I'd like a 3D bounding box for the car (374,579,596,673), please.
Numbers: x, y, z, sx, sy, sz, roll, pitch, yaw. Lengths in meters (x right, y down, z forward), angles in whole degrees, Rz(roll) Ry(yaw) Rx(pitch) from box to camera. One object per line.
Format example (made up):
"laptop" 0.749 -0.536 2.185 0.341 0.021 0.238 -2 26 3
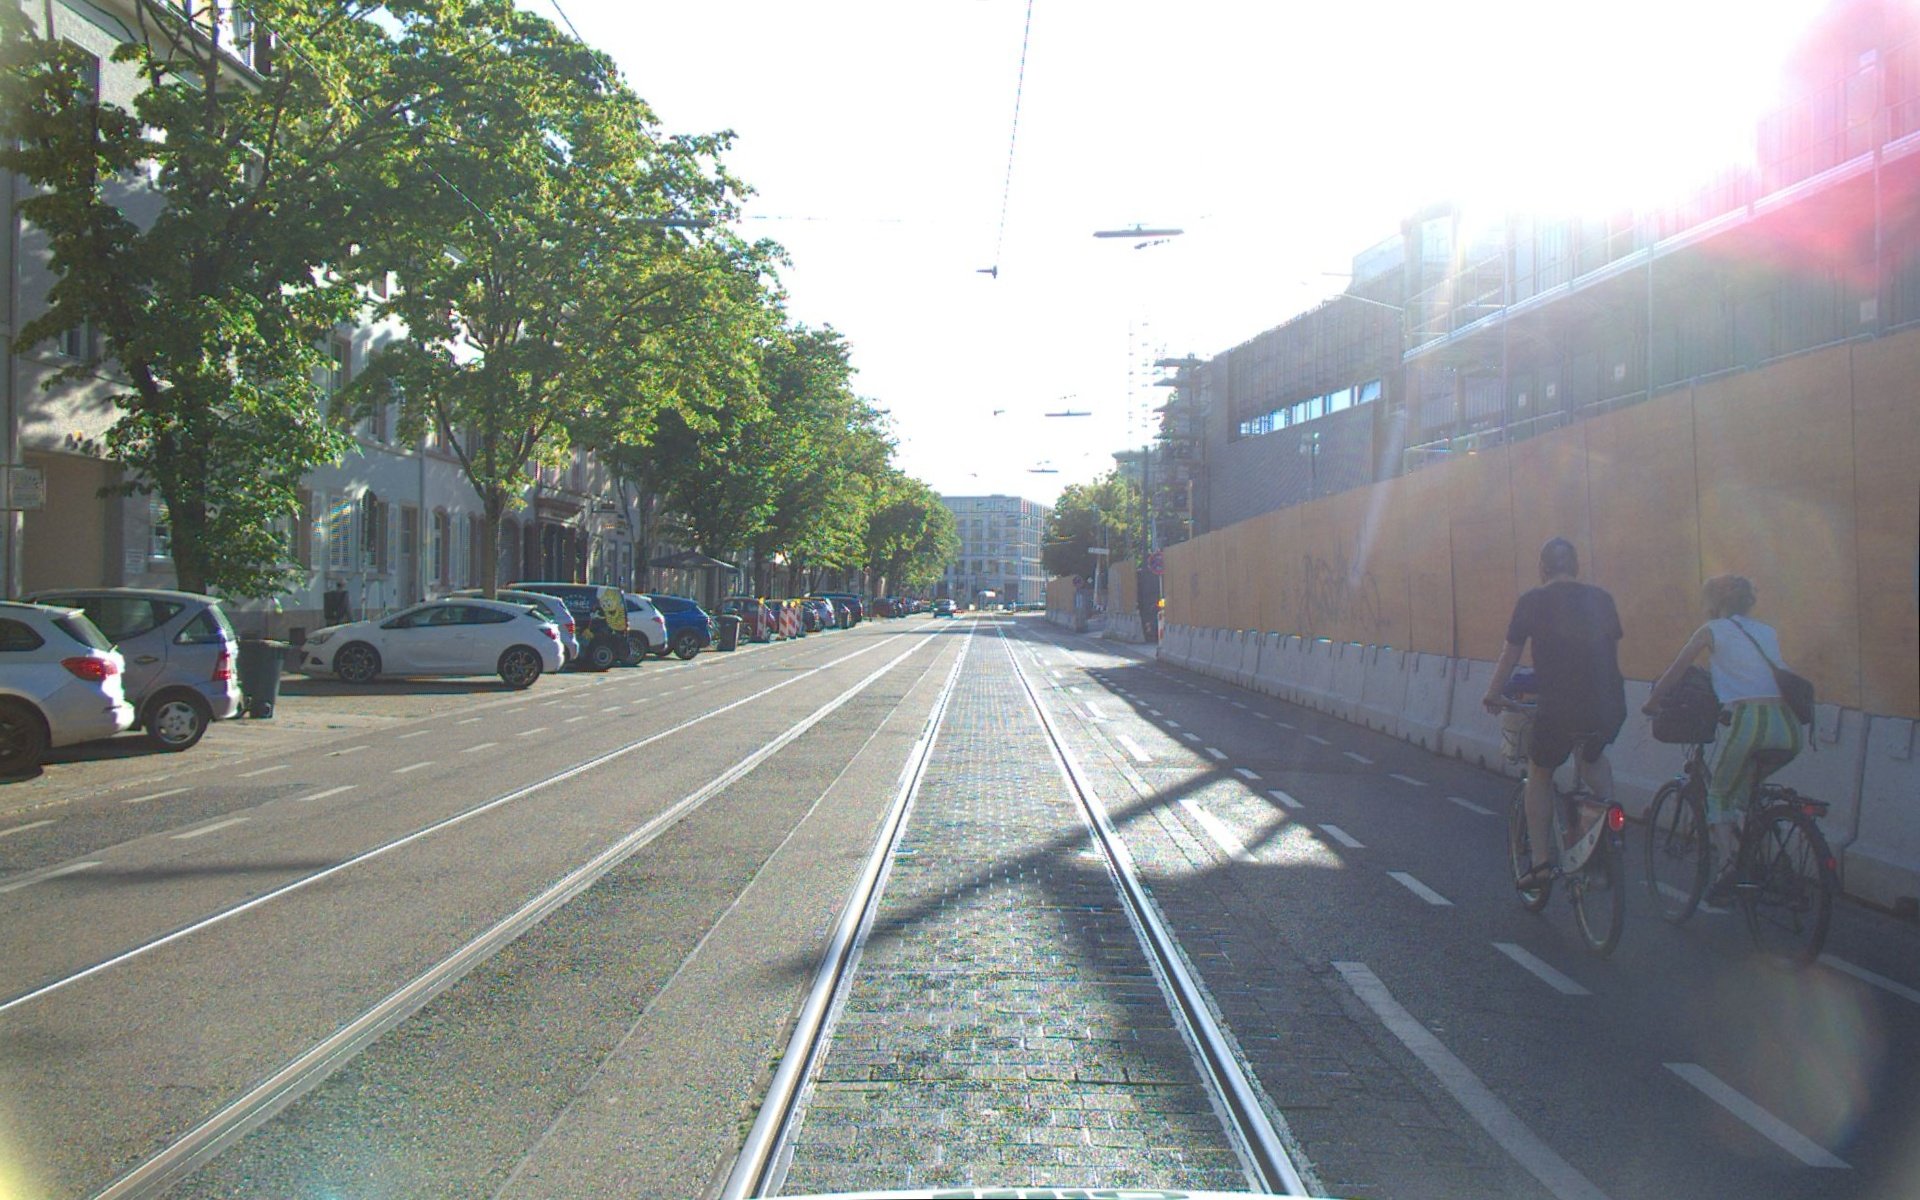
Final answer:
"car" -9.515 0.528 33.168 3.943 1.685 1.793 2 0 -30

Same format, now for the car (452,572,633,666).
"car" -8.991 0.461 35.706 3.403 1.875 1.713 3 -4 -34

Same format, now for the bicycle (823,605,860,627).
"bicycle" -6.518 0.862 90.807 1.934 1.164 0.490 2 -1 -18

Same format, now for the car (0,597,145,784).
"car" -9.438 0.736 14.363 4.114 1.579 1.685 3 -1 -30

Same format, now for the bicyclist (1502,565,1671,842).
"bicyclist" 2.936 0.475 7.777 0.638 1.259 0.353 -1 0 -1

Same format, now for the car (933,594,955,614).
"car" -1.501 0.335 153.699 1.888 1.657 4.249 -3 1 0

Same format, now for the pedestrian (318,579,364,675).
"pedestrian" -12.189 0.522 32.590 0.630 1.870 0.624 -1 0 2

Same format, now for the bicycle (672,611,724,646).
"bicycle" -8.038 0.876 50.751 1.570 1.005 0.388 1 0 -10

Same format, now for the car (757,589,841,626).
"car" -8.182 0.374 84.301 4.021 1.707 1.840 2 0 -2

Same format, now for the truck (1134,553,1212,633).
"truck" 8.437 -0.273 66.121 2.467 2.959 5.508 -3 0 2

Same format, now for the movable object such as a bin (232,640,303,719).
"movable object such as a bin" -8.695 0.994 20.797 0.609 0.961 0.670 0 0 0

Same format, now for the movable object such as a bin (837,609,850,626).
"movable object such as a bin" -6.344 0.948 90.158 0.566 0.929 0.573 2 1 -15

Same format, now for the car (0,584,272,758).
"car" -9.341 0.688 17.112 3.924 1.706 1.694 0 0 -17

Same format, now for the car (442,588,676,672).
"car" -9.291 0.644 38.503 4.888 1.826 2.180 0 0 -37

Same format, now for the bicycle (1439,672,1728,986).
"bicycle" 2.905 0.996 7.971 0.653 1.175 2.277 1 0 4

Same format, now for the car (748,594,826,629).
"car" -8.157 0.543 77.936 3.323 1.519 1.599 2 0 -28

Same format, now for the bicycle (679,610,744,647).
"bicycle" -7.867 0.903 52.430 1.927 1.098 0.569 2 0 3

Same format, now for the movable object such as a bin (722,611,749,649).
"movable object such as a bin" -6.802 0.896 50.152 0.669 1.096 0.710 3 0 2

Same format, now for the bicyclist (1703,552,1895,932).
"bicyclist" 3.786 0.617 7.500 0.545 1.641 0.576 -1 0 -1

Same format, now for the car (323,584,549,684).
"car" -9.128 0.596 28.904 3.581 1.556 1.876 3 -1 -19

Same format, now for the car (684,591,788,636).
"car" -8.512 0.505 62.818 3.567 1.580 1.655 1 1 -26

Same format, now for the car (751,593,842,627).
"car" -7.995 0.511 80.835 4.053 1.539 1.826 1 0 -26

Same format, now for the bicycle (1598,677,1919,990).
"bicycle" 3.785 1.001 7.863 0.546 1.146 2.275 -1 0 -2

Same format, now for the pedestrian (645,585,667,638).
"pedestrian" -11.736 0.436 63.759 0.716 2.049 0.556 0 0 2

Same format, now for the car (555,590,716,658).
"car" -8.493 0.601 43.413 3.859 1.637 1.553 -1 0 -36

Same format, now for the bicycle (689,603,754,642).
"bicycle" -7.754 0.717 53.756 1.961 1.106 0.568 4 0 3
